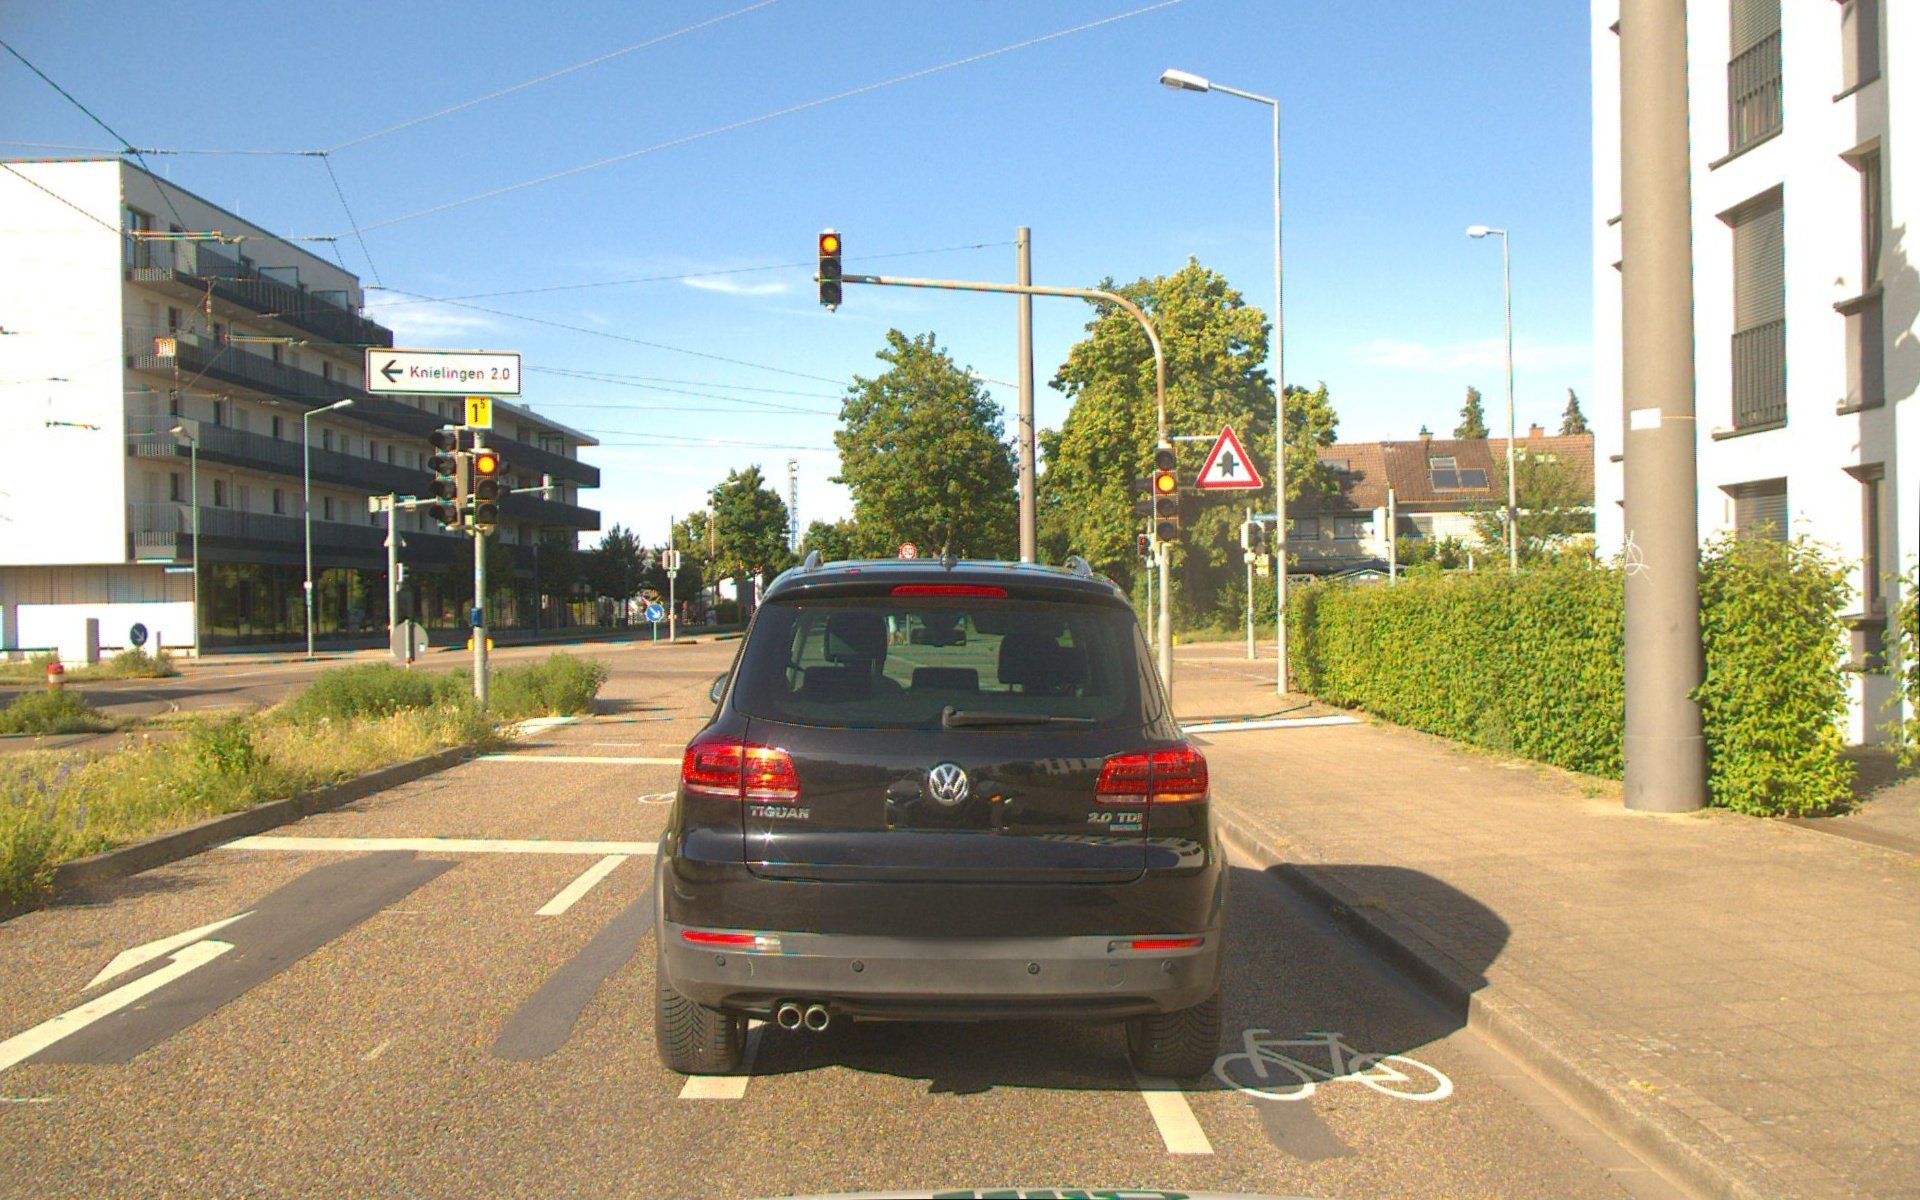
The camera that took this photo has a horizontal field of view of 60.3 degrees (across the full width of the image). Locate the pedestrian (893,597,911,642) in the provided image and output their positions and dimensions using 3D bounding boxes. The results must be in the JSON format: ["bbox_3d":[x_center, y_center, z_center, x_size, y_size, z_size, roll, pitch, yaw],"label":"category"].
[{"bbox_3d":[-2.069,0.679,59.022,0.590,1.592,0.529,0,0,4],"label":"pedestrian"}]

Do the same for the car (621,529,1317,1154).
[{"bbox_3d":[-0.038,0.646,6.463,1.867,1.671,3.998,0,0,-2],"label":"car"}]

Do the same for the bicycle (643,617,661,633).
[{"bbox_3d":[-17.680,1.423,94.978,0.485,0.863,2.079,0,0,3],"label":"bicycle"}]

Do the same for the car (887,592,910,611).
[{"bbox_3d":[-4.573,0.120,122.866,1.716,1.411,3.998,0,0,-2],"label":"car"}]

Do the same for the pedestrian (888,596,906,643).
[{"bbox_3d":[-2.267,0.690,59.723,0.590,1.668,0.529,0,0,4],"label":"pedestrian"}]
